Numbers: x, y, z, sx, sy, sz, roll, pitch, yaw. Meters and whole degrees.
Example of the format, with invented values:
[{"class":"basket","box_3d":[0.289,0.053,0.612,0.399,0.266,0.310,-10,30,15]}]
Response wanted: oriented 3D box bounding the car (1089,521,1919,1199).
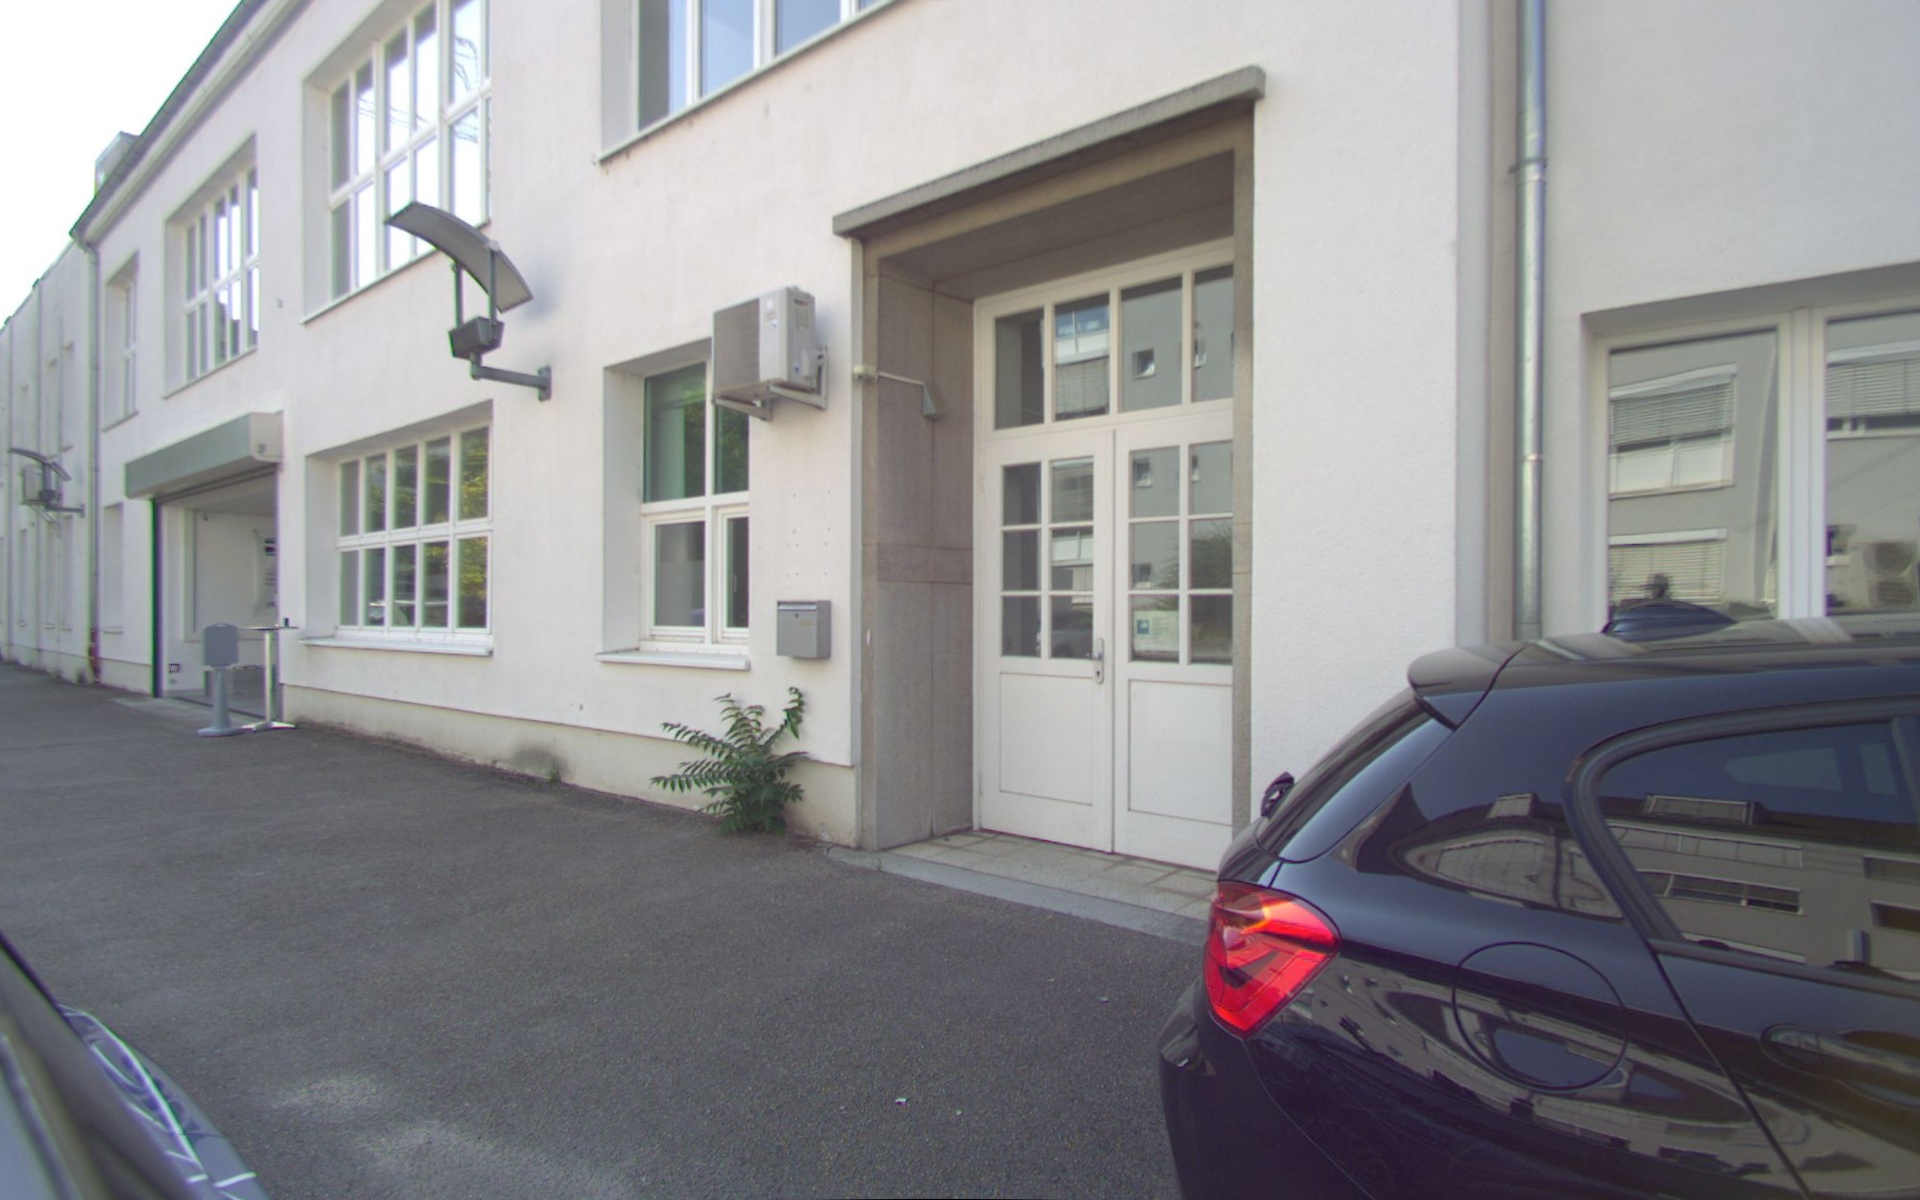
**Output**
[{"class":"car","box_3d":[2.372,0.624,1.010,4.130,1.439,1.776,-1,0,38]}]
